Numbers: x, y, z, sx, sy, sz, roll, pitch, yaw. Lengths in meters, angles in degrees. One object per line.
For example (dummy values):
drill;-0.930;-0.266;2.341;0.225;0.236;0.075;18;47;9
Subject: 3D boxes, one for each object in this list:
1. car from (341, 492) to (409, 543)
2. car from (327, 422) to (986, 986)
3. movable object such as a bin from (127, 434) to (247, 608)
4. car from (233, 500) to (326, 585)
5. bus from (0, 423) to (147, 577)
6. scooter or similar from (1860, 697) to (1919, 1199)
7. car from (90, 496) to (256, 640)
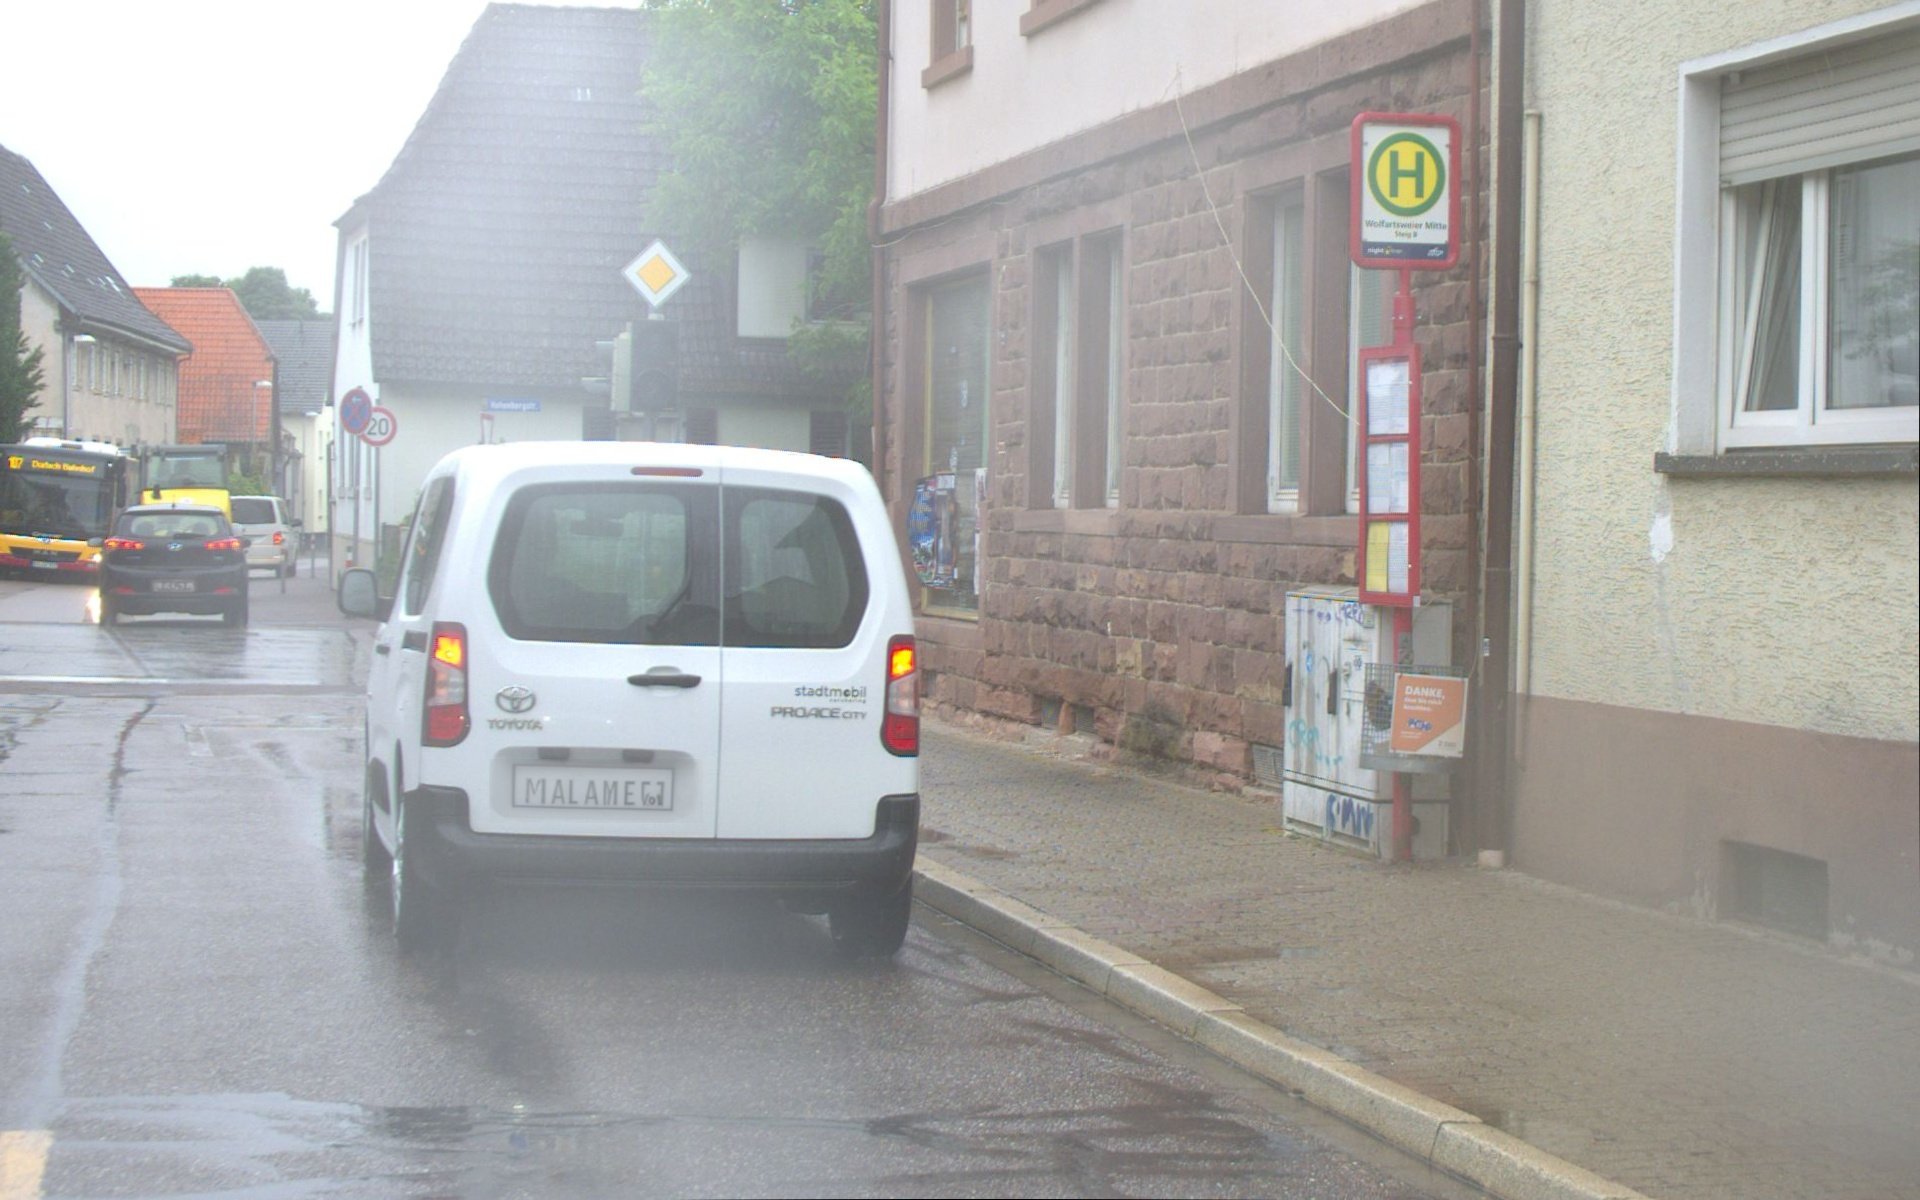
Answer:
car;-23.300;-3.269;137.041;1.993;2.007;4.000;0;1;0
car;-1.316;0.303;13.114;1.893;1.787;3.815;2;1;-14
movable object such as a bin;-12.454;-1.283;55.505;1.726;2.644;3.975;2;1;-12
car;-16.069;-1.369;81.343;1.895;1.941;4.001;-1;1;-8
bus;-19.440;-2.324;75.228;2.649;2.989;12.197;2;3;-11
scooter or similar;2.400;0.786;6.735;0.620;1.123;1.402;1;1;-14
car;-9.499;-0.418;41.469;1.809;1.591;3.757;2;1;-13
